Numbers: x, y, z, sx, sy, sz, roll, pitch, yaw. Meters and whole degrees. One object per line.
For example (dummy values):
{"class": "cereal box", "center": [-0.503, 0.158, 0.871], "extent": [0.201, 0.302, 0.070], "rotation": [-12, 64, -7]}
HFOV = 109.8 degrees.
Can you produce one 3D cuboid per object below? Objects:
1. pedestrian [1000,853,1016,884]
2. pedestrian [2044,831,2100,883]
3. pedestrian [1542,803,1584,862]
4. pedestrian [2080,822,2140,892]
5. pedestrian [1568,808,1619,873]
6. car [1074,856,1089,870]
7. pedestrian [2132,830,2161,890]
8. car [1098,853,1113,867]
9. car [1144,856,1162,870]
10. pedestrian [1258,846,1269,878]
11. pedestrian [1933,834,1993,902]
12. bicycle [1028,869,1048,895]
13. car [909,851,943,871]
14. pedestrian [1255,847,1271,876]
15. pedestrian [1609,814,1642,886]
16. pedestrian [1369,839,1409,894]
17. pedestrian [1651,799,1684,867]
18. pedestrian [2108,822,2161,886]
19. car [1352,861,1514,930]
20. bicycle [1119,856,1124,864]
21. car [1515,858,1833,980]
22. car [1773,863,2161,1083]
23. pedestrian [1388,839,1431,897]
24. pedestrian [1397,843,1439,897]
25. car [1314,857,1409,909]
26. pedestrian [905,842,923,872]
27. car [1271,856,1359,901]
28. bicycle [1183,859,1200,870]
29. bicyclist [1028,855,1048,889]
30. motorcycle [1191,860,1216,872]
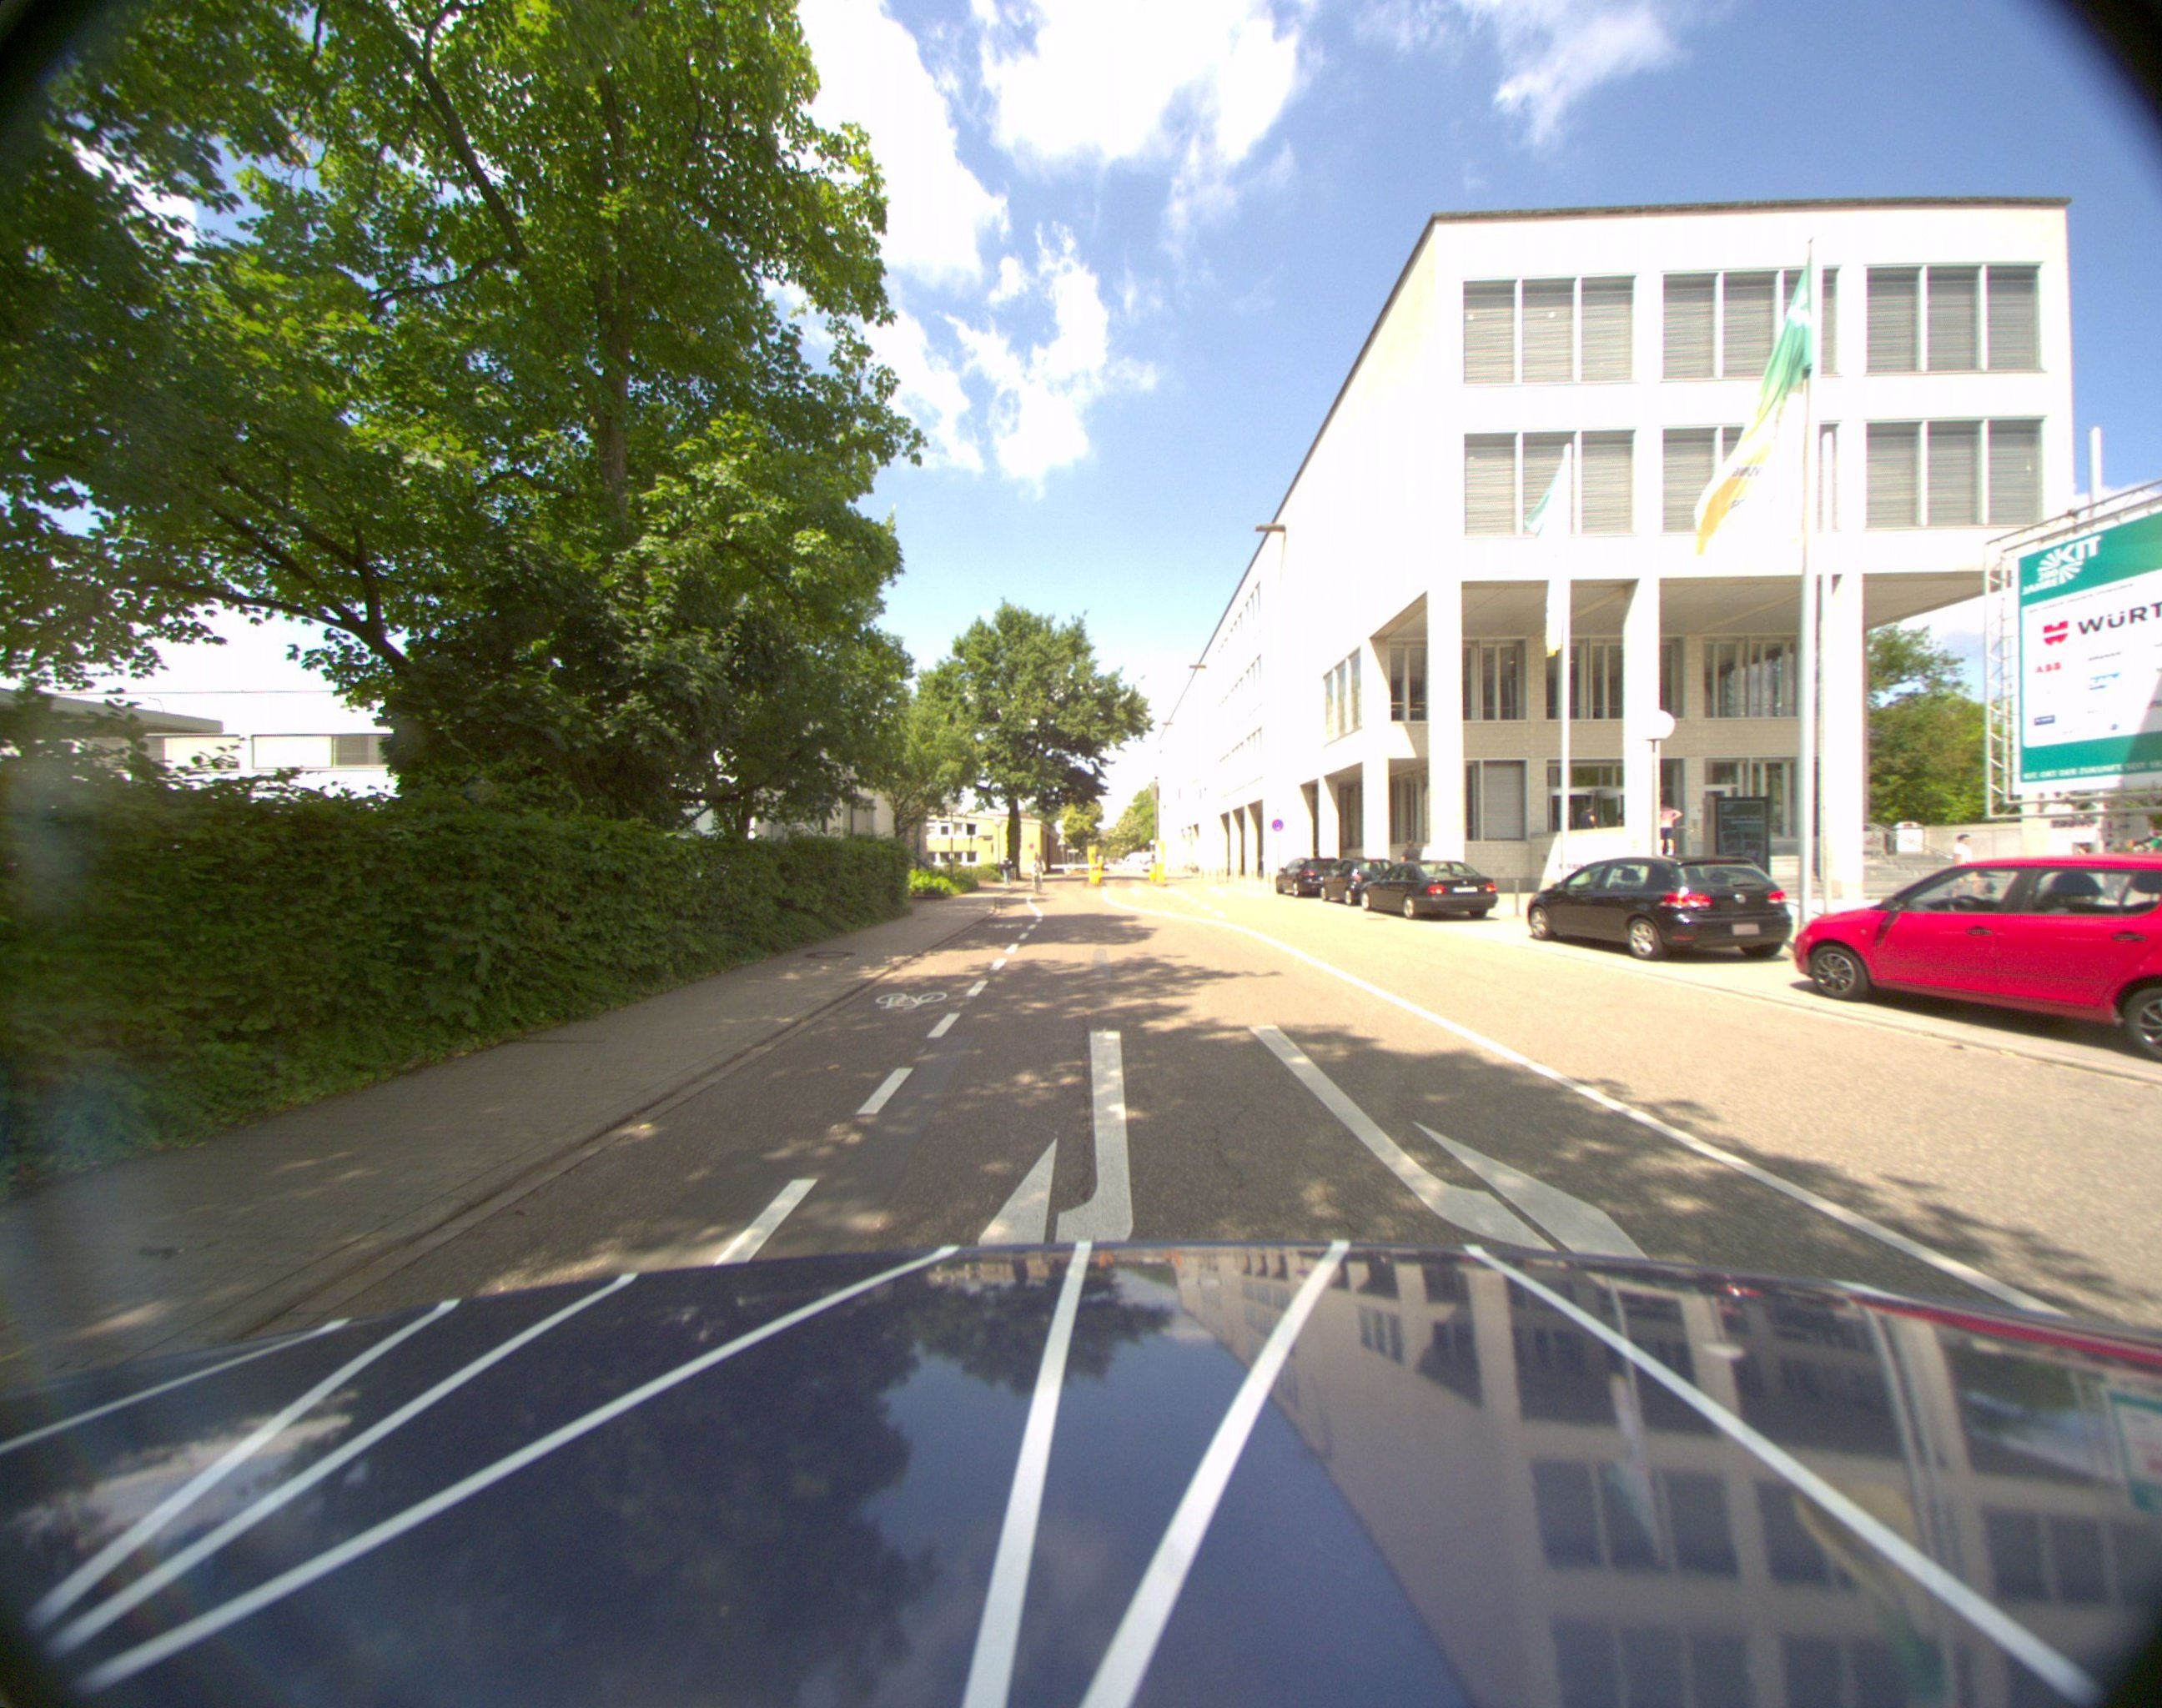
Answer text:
{"class": "pedestrian", "center": [-4.006, 0.776, 41.814], "extent": [0.741, 1.665, 1.256], "rotation": [-1, 0, -2]}
{"class": "pedestrian", "center": [30.855, 0.093, 23.667], "extent": [0.732, 1.604, 0.737], "rotation": [-1, 1, 6]}
{"class": "pedestrian", "center": [16.921, -0.740, 26.673], "extent": [0.746, 2.002, 0.979], "rotation": [-2, 1, -19]}
{"class": "pedestrian", "center": [26.349, 0.084, 19.456], "extent": [0.739, 1.746, 0.758], "rotation": [-1, 0, -22]}
{"class": "pedestrian", "center": [16.137, -0.419, 23.932], "extent": [0.980, 2.002, 0.910], "rotation": [-1, 1, 1]}
{"class": "car", "center": [0.062, 1.081, 90.256], "extent": [1.760, 1.559, 3.818], "rotation": [0, 0, 1]}
{"class": "pedestrian", "center": [32.241, 0.172, 22.656], "extent": [0.759, 1.763, 0.738], "rotation": [-1, 0, 1]}
{"class": "car", "center": [3.332, 0.841, 103.192], "extent": [1.998, 1.805, 4.001], "rotation": [0, 0, 2]}
{"class": "car", "center": [8.400, 1.066, 89.209], "extent": [1.730, 1.526, 4.405], "rotation": [-3, 0, 1]}
{"class": "pedestrian", "center": [11.521, 0.516, 47.952], "extent": [0.544, 2.002, 0.835], "rotation": [-1, 1, 4]}
{"class": "pedestrian", "center": [23.289, 0.364, 20.073], "extent": [0.738, 1.746, 0.759], "rotation": [-1, 0, -8]}
{"class": "bicycle", "center": [-1.844, 1.196, 32.677], "extent": [0.781, 1.042, 1.913], "rotation": [0, 0, -1]}
{"class": "car", "center": [-12.089, 0.536, 59.464], "extent": [1.671, 1.468, 4.182], "rotation": [-1, 0, 1]}
{"class": "pedestrian", "center": [12.617, 0.530, 52.742], "extent": [0.850, 2.002, 1.066], "rotation": [0, 0, -1]}
{"class": "pedestrian", "center": [18.558, -0.122, 25.894], "extent": [0.739, 2.408, 0.757], "rotation": [-1, 1, -43]}
{"class": "pedestrian", "center": [11.470, 0.464, 28.343], "extent": [0.987, 2.002, 1.164], "rotation": [-1, 0, -3]}
{"class": "pedestrian", "center": [18.986, -0.674, 24.616], "extent": [0.703, 2.133, 0.806], "rotation": [-1, 1, 28]}
{"class": "pedestrian", "center": [33.623, 0.000, 24.209], "extent": [0.759, 2.002, 0.737], "rotation": [-1, 1, 18]}
{"class": "car", "center": [8.453, 0.910, 18.854], "extent": [1.864, 1.370, 5.017], "rotation": [-3, 0, 3]}
{"class": "bicycle", "center": [7.944, 1.124, 148.384], "extent": [0.797, 1.485, 2.062], "rotation": [-1, 0, 0]}
{"class": "car", "center": [8.752, 0.846, 11.778], "extent": [1.752, 1.458, 4.197], "rotation": [-3, 0, 3]}
{"class": "car", "center": [8.516, 0.861, 6.484], "extent": [1.680, 1.458, 3.911], "rotation": [-3, 0, 2]}
{"class": "pedestrian", "center": [11.694, 0.487, 27.081], "extent": [0.987, 2.002, 1.164], "rotation": [-1, 0, -3]}
{"class": "pedestrian", "center": [12.619, 0.587, 28.498], "extent": [0.987, 2.002, 1.164], "rotation": [-1, 0, -3]}
{"class": "car", "center": [8.768, 0.855, 24.061], "extent": [1.643, 1.458, 3.707], "rotation": [-3, 0, 1]}
{"class": "pedestrian", "center": [-10.928, 0.197, 49.782], "extent": [0.929, 2.002, 0.950], "rotation": [0, 0, 5]}
{"class": "car", "center": [8.653, 0.856, 28.556], "extent": [1.864, 1.458, 4.719], "rotation": [-3, 0, 1]}
{"class": "bicycle", "center": [11.591, 1.108, 79.983], "extent": [1.643, 1.080, 0.608], "rotation": [-1, 0, -4]}
{"class": "bicyclist", "center": [-1.846, 0.771, 32.712], "extent": [0.781, 1.478, 0.695], "rotation": [0, 0, -1]}
{"class": "motorcycle", "center": [11.434, 1.121, 70.812], "extent": [2.173, 1.131, 0.774], "rotation": [0, 0, -9]}
